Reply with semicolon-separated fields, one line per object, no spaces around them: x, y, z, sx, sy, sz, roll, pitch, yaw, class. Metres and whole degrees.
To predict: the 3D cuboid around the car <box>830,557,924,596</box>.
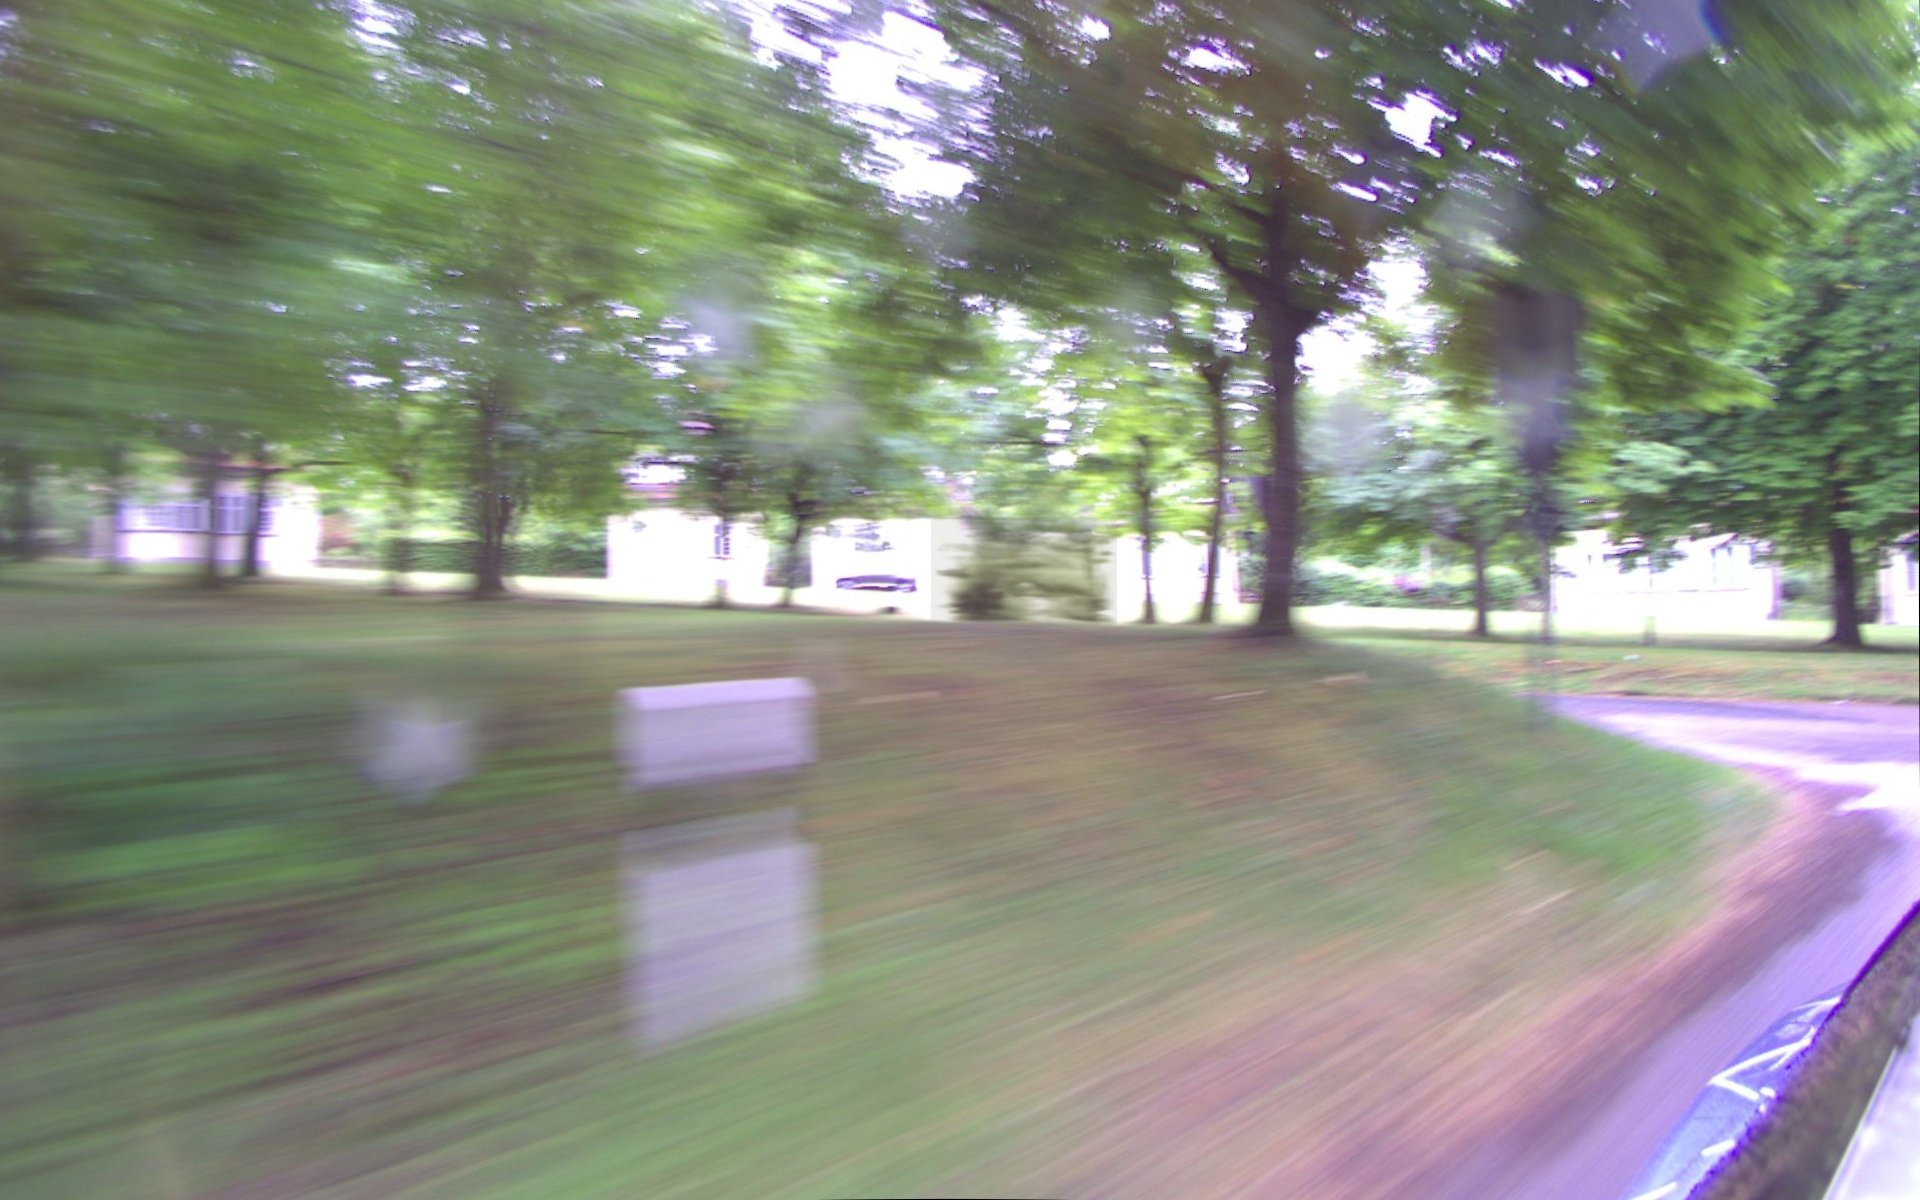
-4.050;-1.133;49.844;4.479;1.859;2.000;0;-1;0;car
